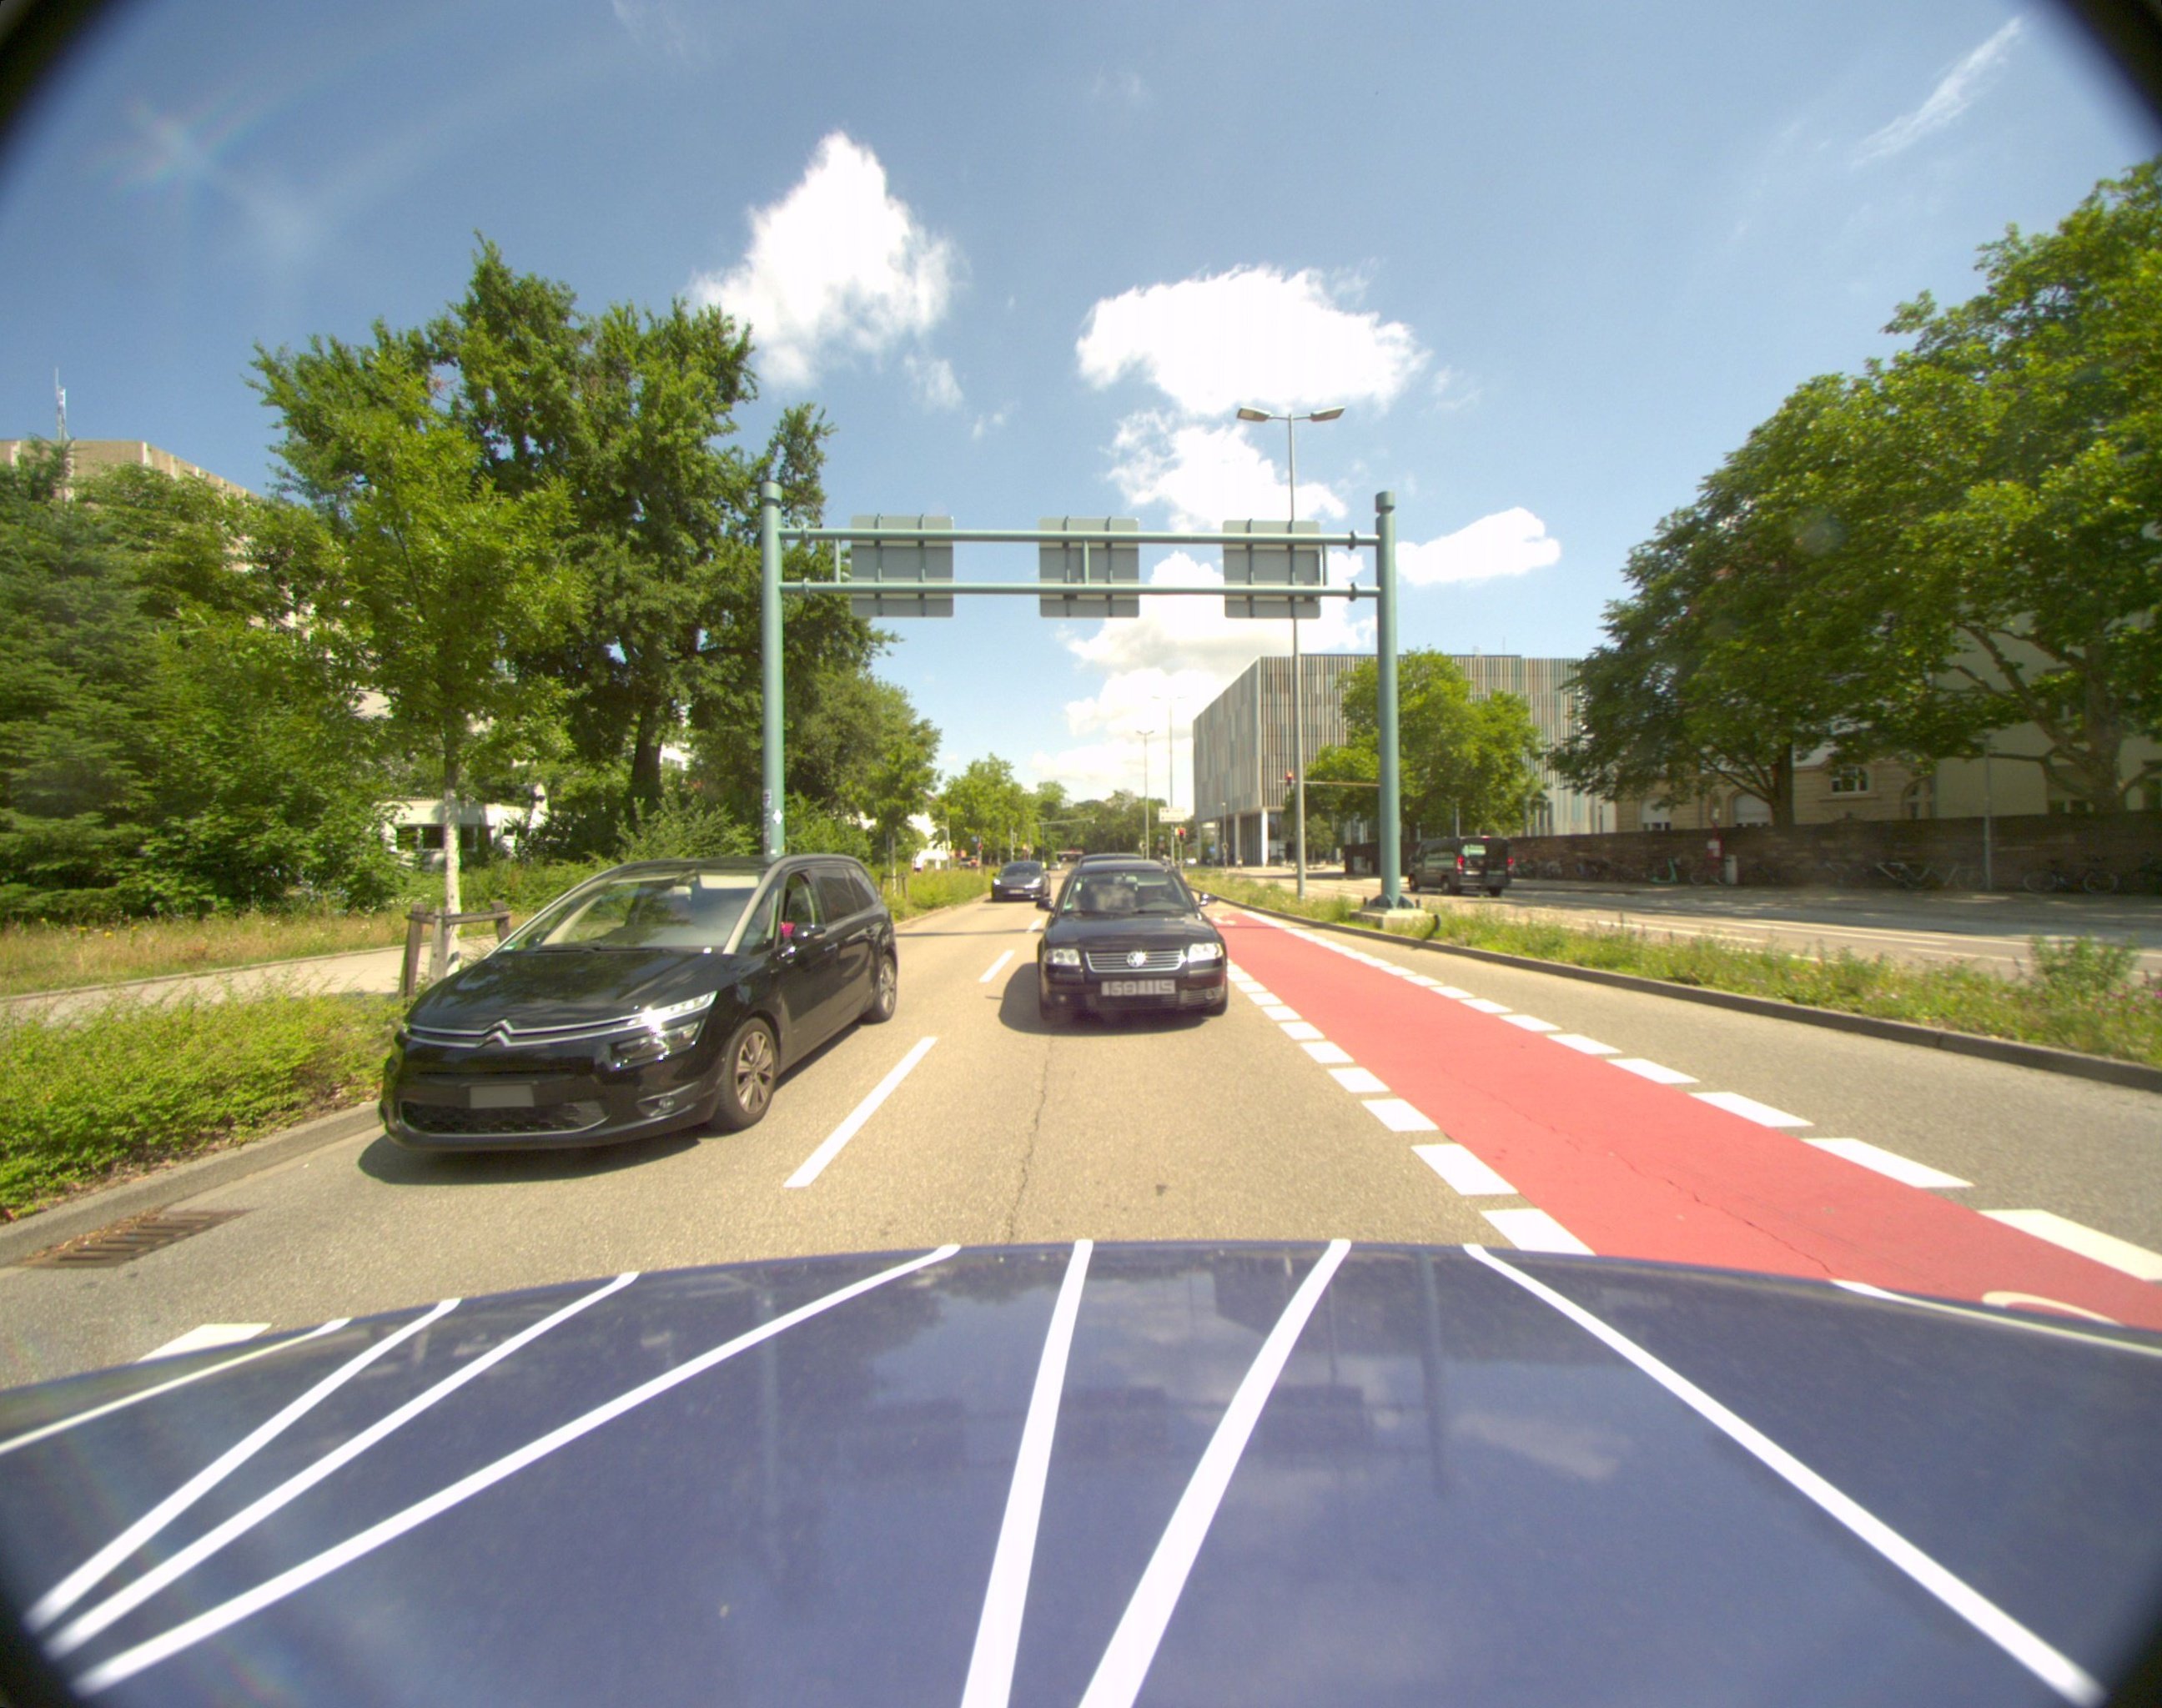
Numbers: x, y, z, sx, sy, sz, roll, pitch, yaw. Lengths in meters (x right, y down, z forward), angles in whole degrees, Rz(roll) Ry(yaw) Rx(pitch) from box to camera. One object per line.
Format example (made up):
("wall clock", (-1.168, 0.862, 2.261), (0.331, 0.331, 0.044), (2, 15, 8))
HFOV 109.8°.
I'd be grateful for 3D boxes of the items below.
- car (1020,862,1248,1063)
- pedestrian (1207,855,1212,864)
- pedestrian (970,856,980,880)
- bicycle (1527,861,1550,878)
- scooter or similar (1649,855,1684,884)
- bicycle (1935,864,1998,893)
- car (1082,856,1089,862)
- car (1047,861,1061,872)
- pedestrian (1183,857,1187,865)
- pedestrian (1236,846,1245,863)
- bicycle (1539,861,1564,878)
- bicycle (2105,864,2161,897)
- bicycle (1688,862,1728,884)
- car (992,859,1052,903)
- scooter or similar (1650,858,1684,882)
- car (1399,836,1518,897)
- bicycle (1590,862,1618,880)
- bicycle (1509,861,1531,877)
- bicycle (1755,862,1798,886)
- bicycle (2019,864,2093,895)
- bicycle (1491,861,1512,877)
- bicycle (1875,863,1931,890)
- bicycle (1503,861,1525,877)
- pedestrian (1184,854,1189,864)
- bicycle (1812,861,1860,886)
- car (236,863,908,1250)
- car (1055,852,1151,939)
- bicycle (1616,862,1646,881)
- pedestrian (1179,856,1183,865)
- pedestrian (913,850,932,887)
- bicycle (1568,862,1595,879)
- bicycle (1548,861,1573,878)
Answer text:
("car", (0.445, 0.872, 8.236), (1.723, 1.472, 4.594), (-3, 0, 1))
("pedestrian", (19.261, 0.813, 114.143), (0.696, 1.445, 0.689), (-1, 0, 6))
("pedestrian", (-7.965, 1.065, 57.257), (0.640, 1.754, 0.885), (-1, 0, -13))
("bicycle", (23.467, 0.789, 39.007), (0.265, 0.826, 1.235), (-1, 0, -11))
("scooter or similar", (23.882, 0.623, 31.011), (0.265, 1.182, 1.234), (-1, 0, -11))
("bicycle", (26.241, 0.722, 22.538), (0.265, 0.826, 1.235), (-1, 0, -11))
("car", (1.267, 1.509, 225.767), (1.758, 1.581, 4.275), (-1, 0, -4))
("car", (-4.329, 1.955, 122.142), (1.816, 1.598, 4.479), (-3, 0, 1))
("pedestrian", (17.782, 1.200, 129.936), (0.696, 1.445, 0.689), (-1, 0, 5))
("pedestrian", (19.350, 0.070, 92.436), (0.864, 2.002, 0.995), (-1, 0, -1))
("bicycle", (23.220, 0.751, 37.543), (0.265, 0.826, 1.234), (-1, 0, -11))
("bicycle", (27.126, 0.677, 19.355), (0.265, 0.826, 1.234), (-1, 0, -13))
("bicycle", (24.817, 0.741, 30.089), (0.265, 0.826, 1.233), (-1, 0, -21))
("car", (-2.092, 0.940, 27.933), (1.806, 1.361, 4.157), (-1, 1, 1))
("scooter or similar", (24.573, 0.668, 31.859), (0.266, 1.014, 1.140), (-1, 0, -22))
("car", (14.688, 0.450, 29.951), (2.153, 2.162, 5.018), (1, 0, 0))
("bicycle", (24.058, 0.784, 34.942), (0.265, 0.826, 1.235), (-1, 0, -11))
("bicycle", (23.358, 0.791, 40.417), (0.265, 0.826, 1.234), (-1, 0, -11))
("bicycle", (25.187, 0.708, 27.529), (0.265, 0.826, 1.235), (-1, 0, -11))
("bicycle", (26.639, 0.686, 20.783), (0.265, 0.826, 1.234), (-1, 0, -13))
("bicycle", (23.152, 0.819, 41.812), (0.265, 0.826, 1.234), (-1, 0, -11))
("bicycle", (26.000, 0.701, 24.052), (0.265, 0.826, 1.235), (-1, 0, -11))
("bicycle", (22.836, 0.797, 40.090), (0.265, 0.826, 1.234), (-1, 0, -11))
("pedestrian", (17.069, 0.804, 122.968), (0.793, 1.681, 0.706), (-1, 0, 1))
("bicycle", (25.682, 0.660, 25.860), (0.265, 0.826, 1.235), (-1, 0, -11))
("car", (-2.750, 0.923, 5.585), (1.816, 1.598, 4.479), (-3, 0, 1))
("car", (0.438, 0.782, 16.364), (1.723, 1.545, 4.594), (-3, 0, 1))
("bicycle", (24.141, 0.772, 33.378), (0.265, 0.826, 1.235), (-1, 0, -11))
("pedestrian", (16.266, 1.030, 123.685), (0.696, 1.445, 0.689), (-1, 0, 5))
("pedestrian", (-8.815, 0.782, 42.276), (0.845, 2.026, 0.901), (-1, 0, -4))
("bicycle", (23.843, 0.781, 36.204), (0.265, 0.826, 1.235), (-1, 0, -11))
("bicycle", (23.662, 0.750, 37.478), (0.265, 0.826, 1.235), (-1, 0, -11))
